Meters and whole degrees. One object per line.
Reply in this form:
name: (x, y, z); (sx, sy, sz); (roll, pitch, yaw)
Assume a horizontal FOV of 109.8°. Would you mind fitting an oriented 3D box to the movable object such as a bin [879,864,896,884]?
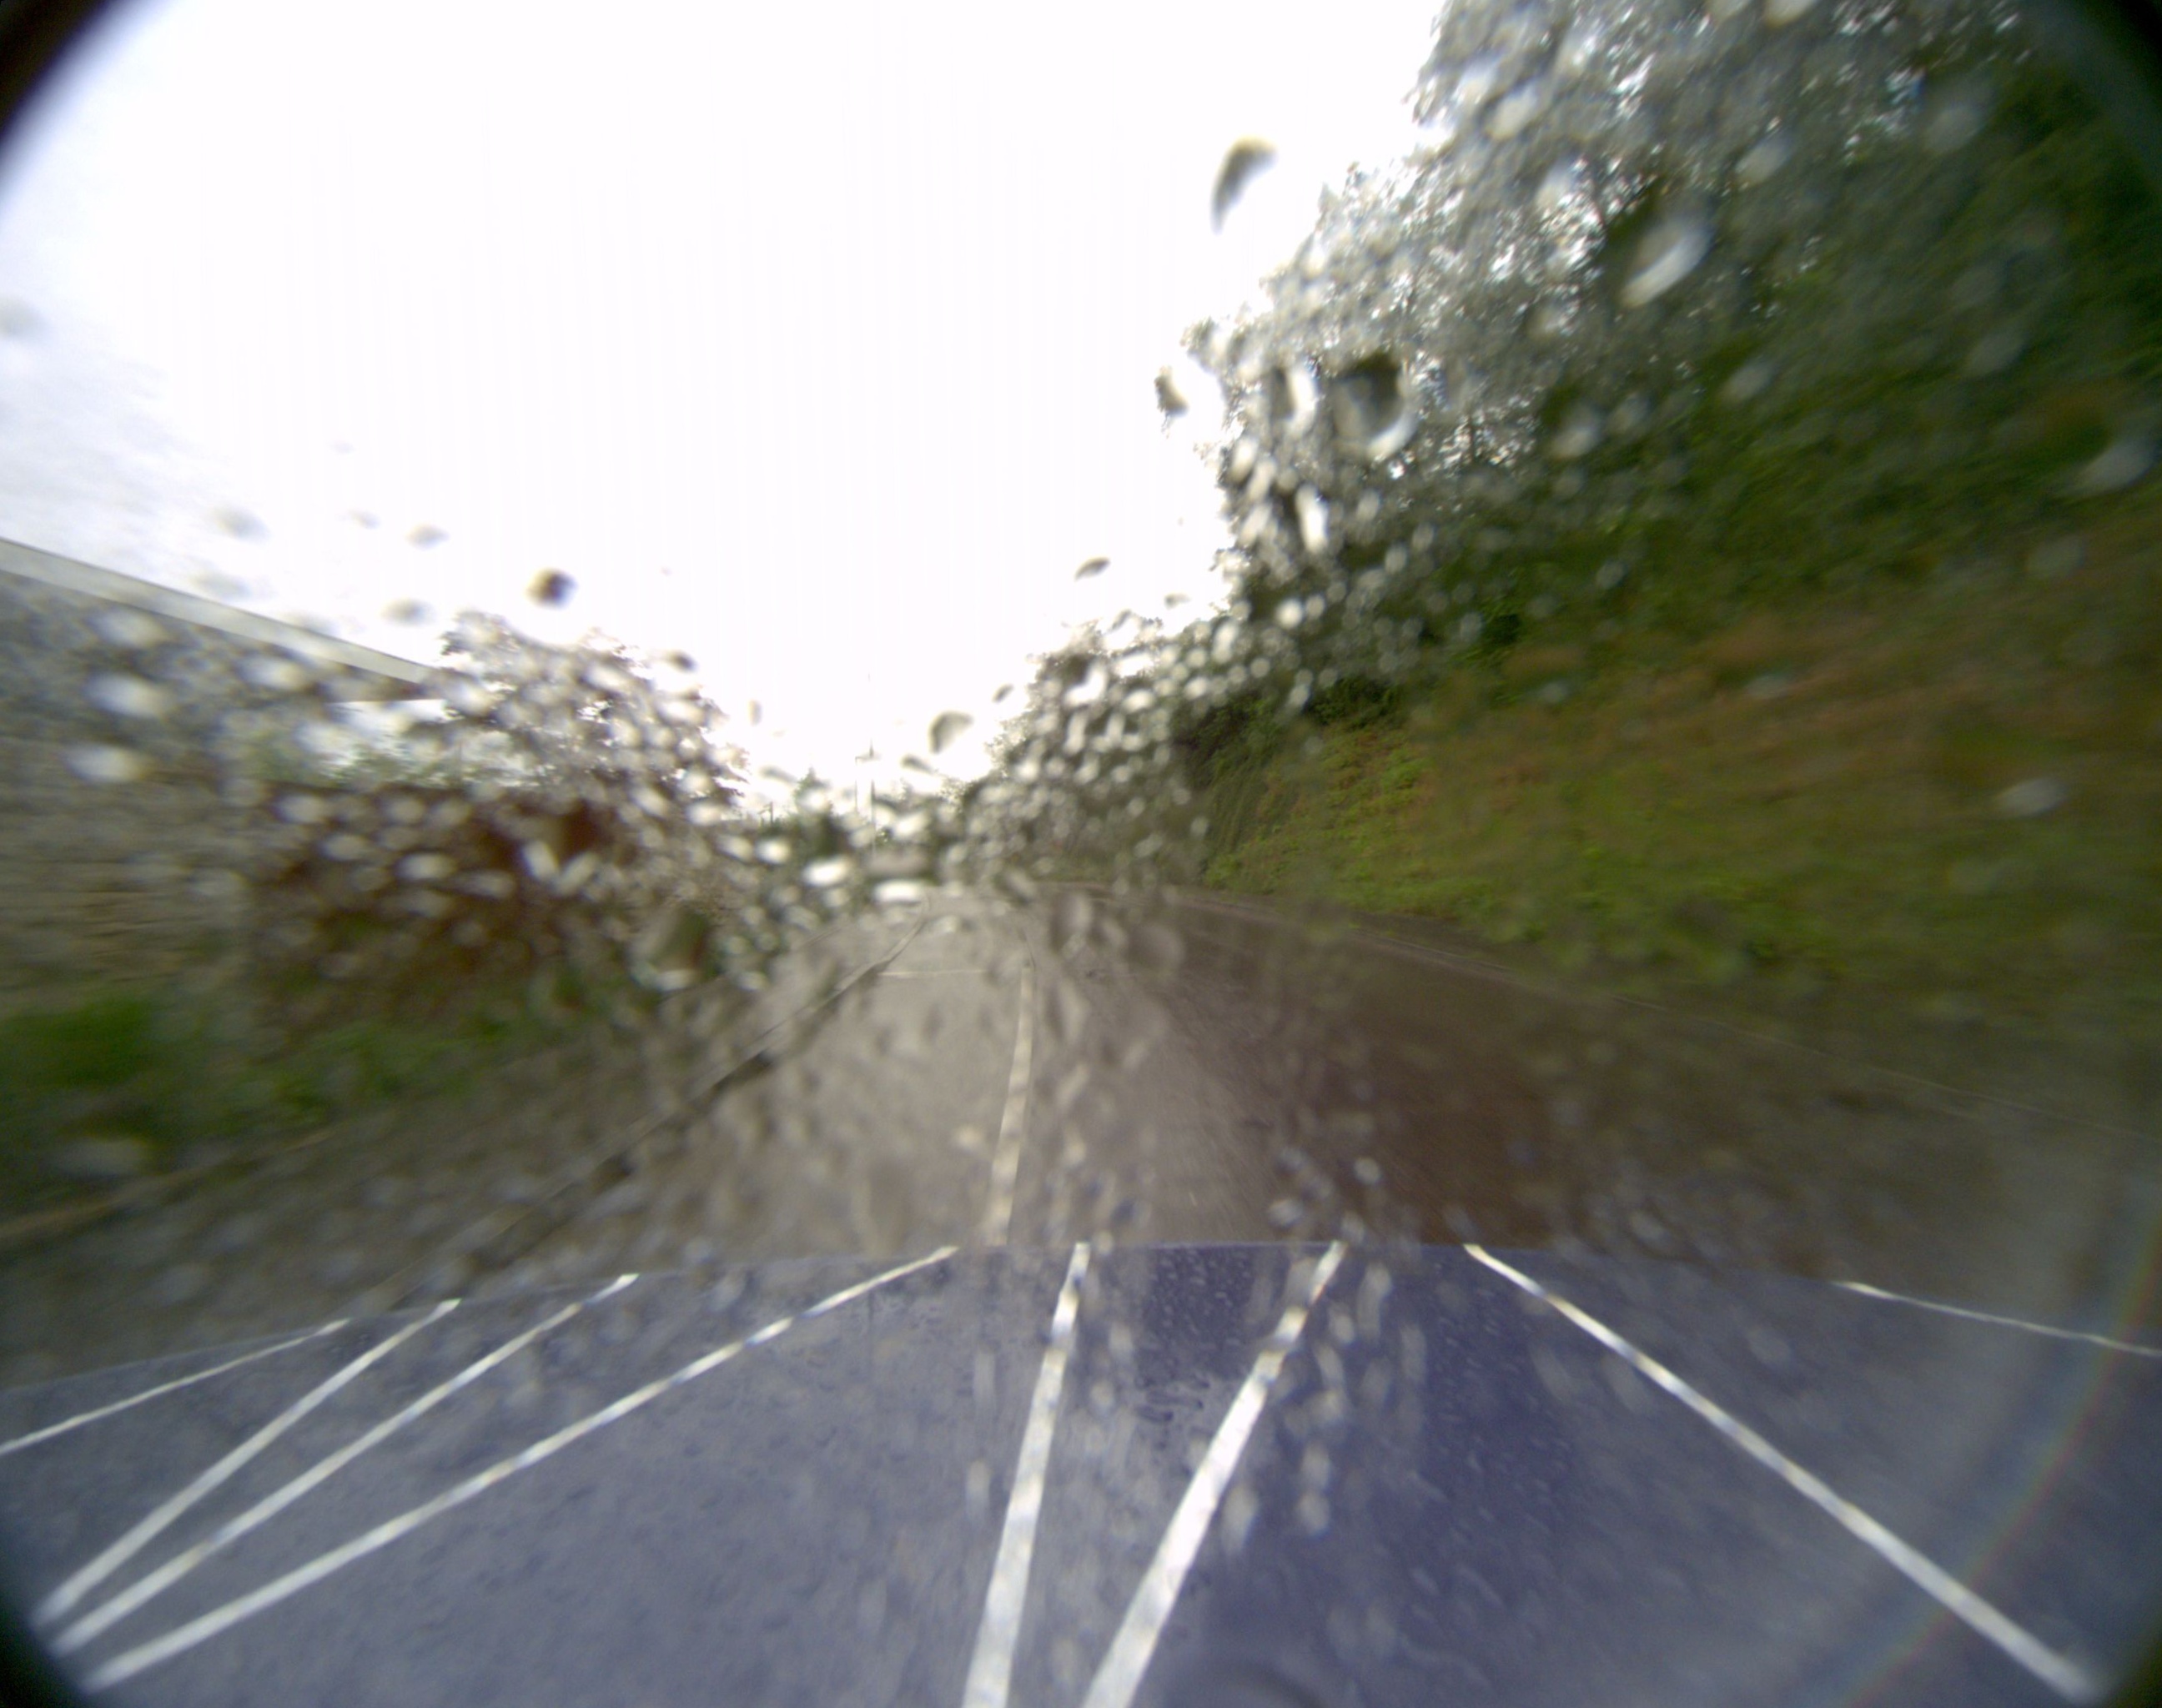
movable object such as a bin: (-10.993, 1.141, 43.194); (0.793, 1.089, 0.674); (3, -3, -21)
